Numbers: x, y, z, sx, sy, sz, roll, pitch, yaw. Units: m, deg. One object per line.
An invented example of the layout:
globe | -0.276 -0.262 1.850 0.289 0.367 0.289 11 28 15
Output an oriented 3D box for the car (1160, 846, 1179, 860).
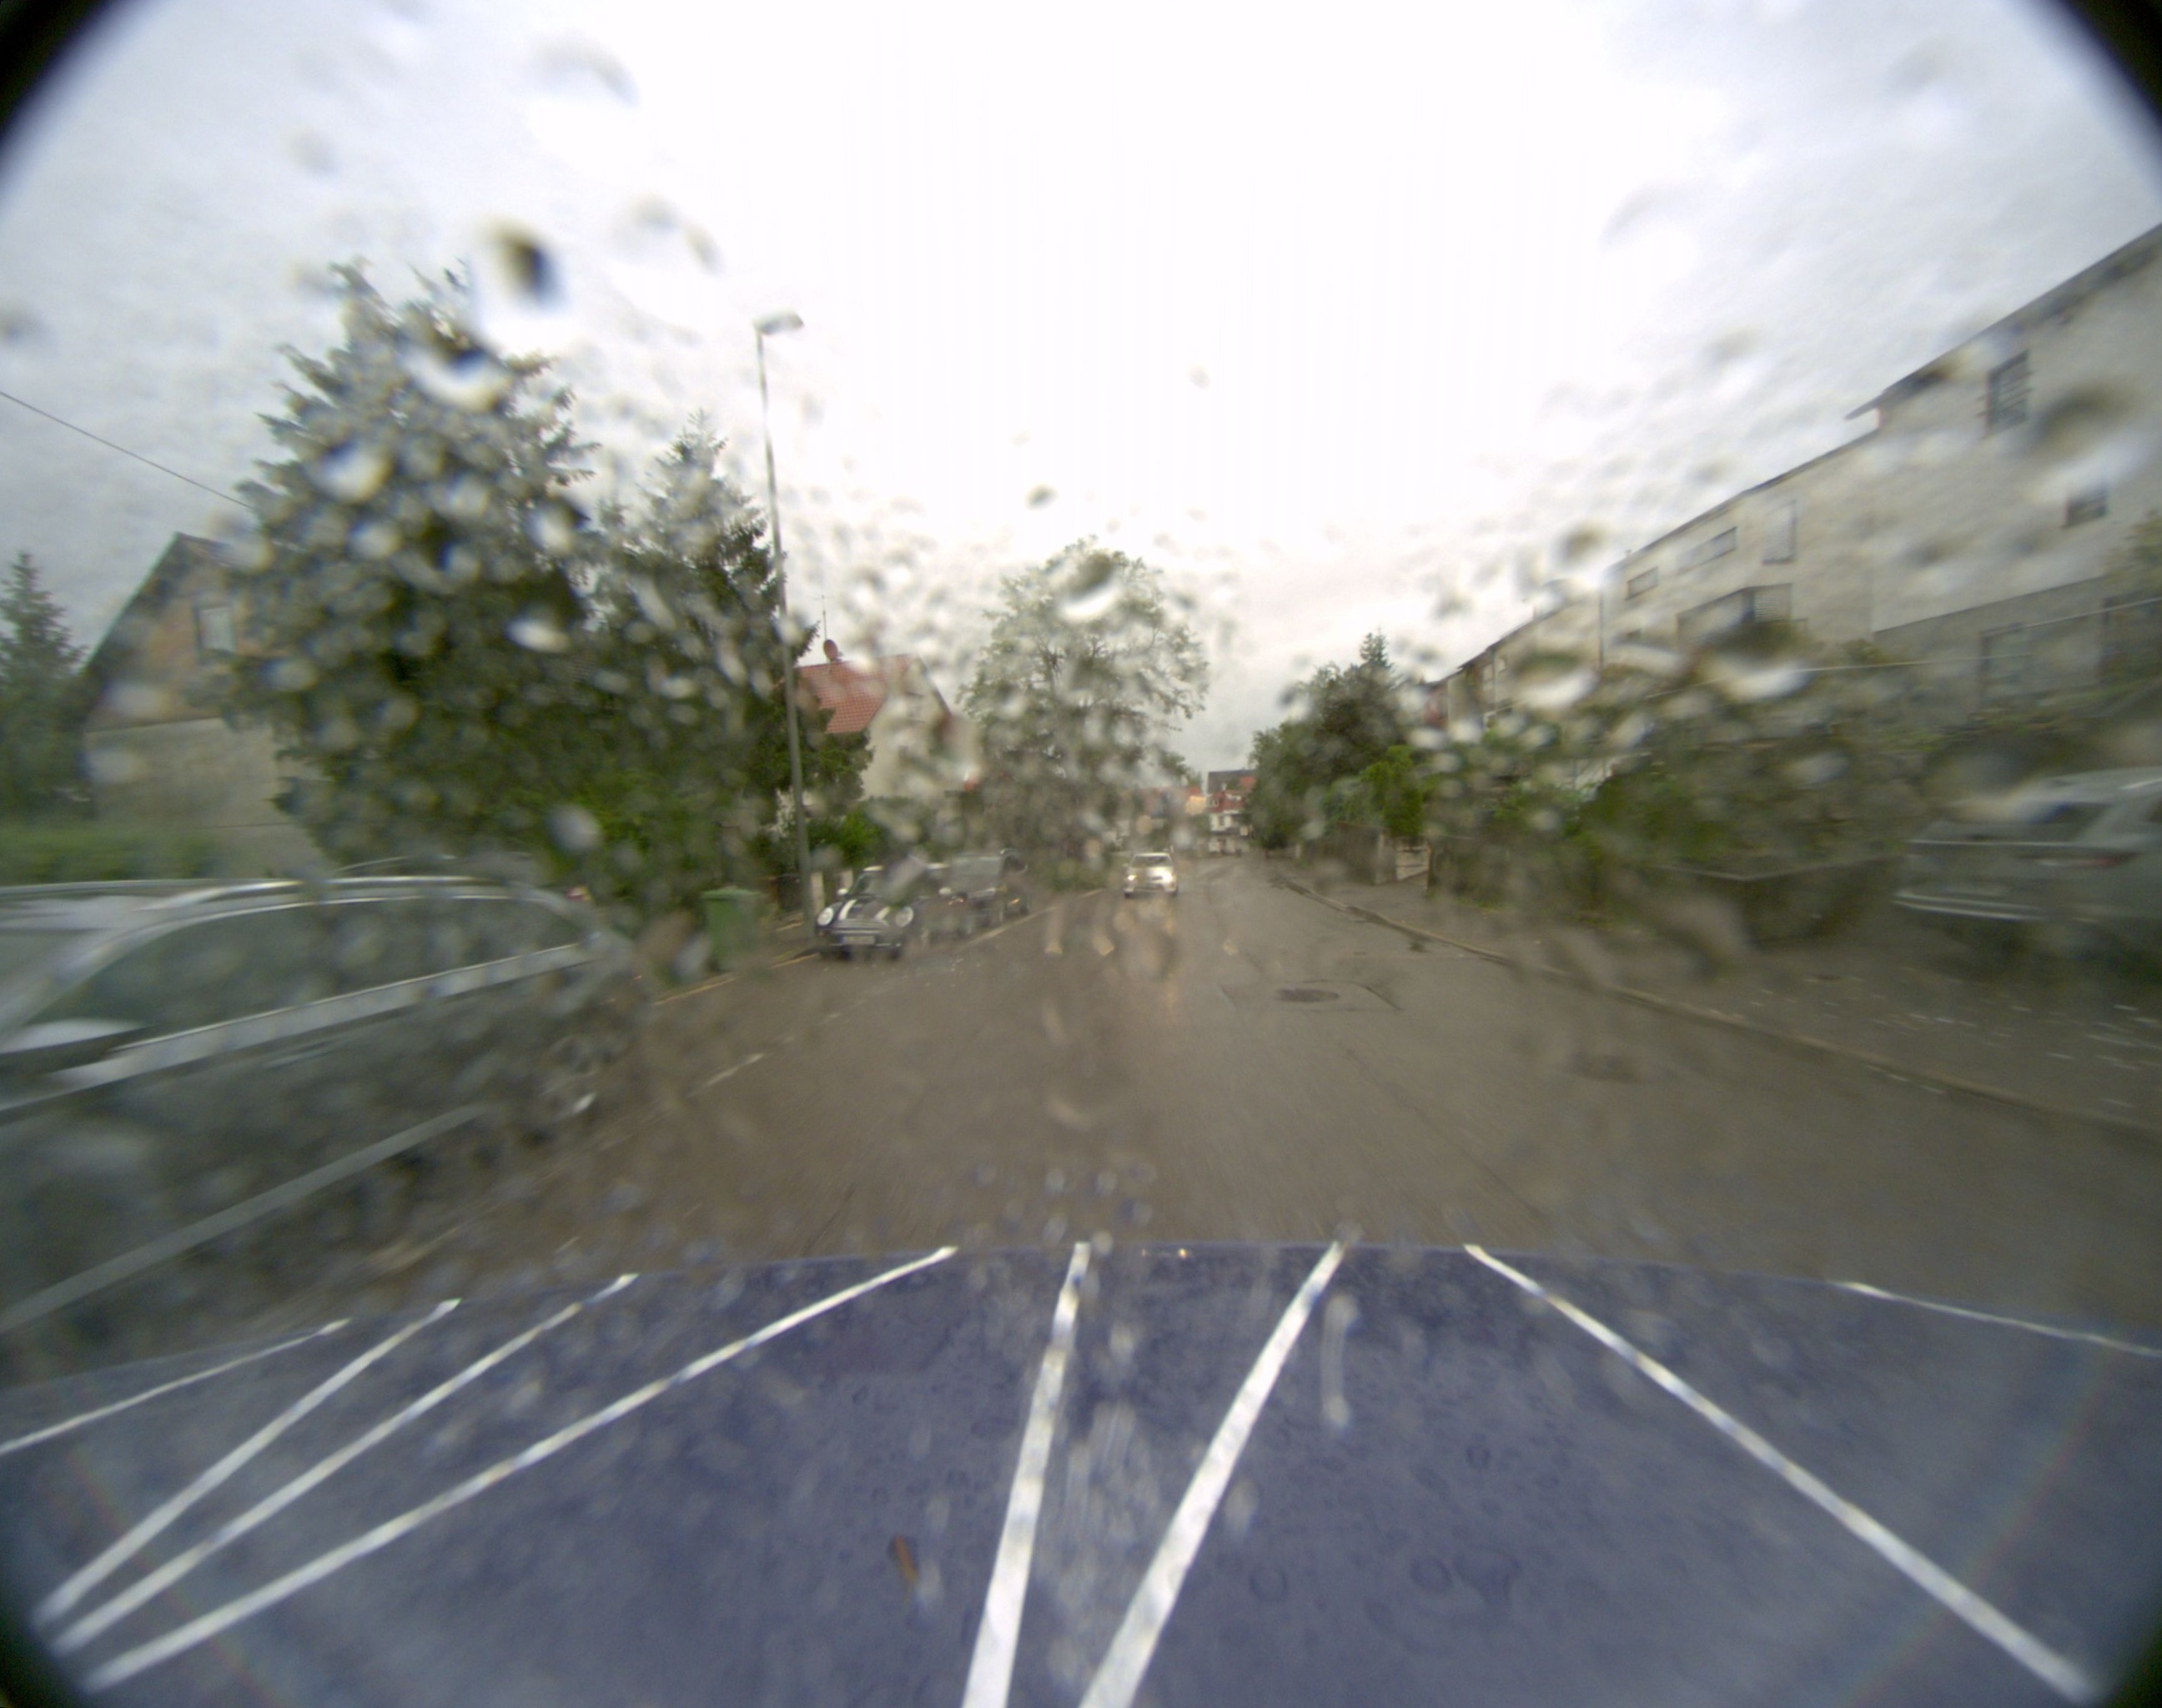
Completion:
car | 12.996 -0.154 112.112 2.113 1.863 4.180 -3 0 -2

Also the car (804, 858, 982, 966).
car | -2.953 0.851 12.771 1.637 1.448 3.702 -2 1 7

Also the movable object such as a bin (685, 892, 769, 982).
movable object such as a bin | -4.682 1.090 10.099 0.704 1.091 0.701 -3 1 5

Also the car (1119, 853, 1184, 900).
car | 2.543 0.724 26.530 1.862 1.369 4.184 -3 0 10

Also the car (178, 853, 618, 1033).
car | -8.264 1.030 9.378 4.011 1.678 1.778 -6 0 9

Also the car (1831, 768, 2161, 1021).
car | 9.699 0.093 6.389 4.519 1.605 1.933 -9 1 5

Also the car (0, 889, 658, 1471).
car | -3.810 0.993 2.694 1.751 1.416 4.704 -2 1 3

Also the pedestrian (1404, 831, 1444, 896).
pedestrian | 8.918 0.247 19.783 0.657 1.639 0.732 -3 0 2

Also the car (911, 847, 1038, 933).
car | -2.306 0.713 17.750 1.833 1.691 4.462 -2 1 6
